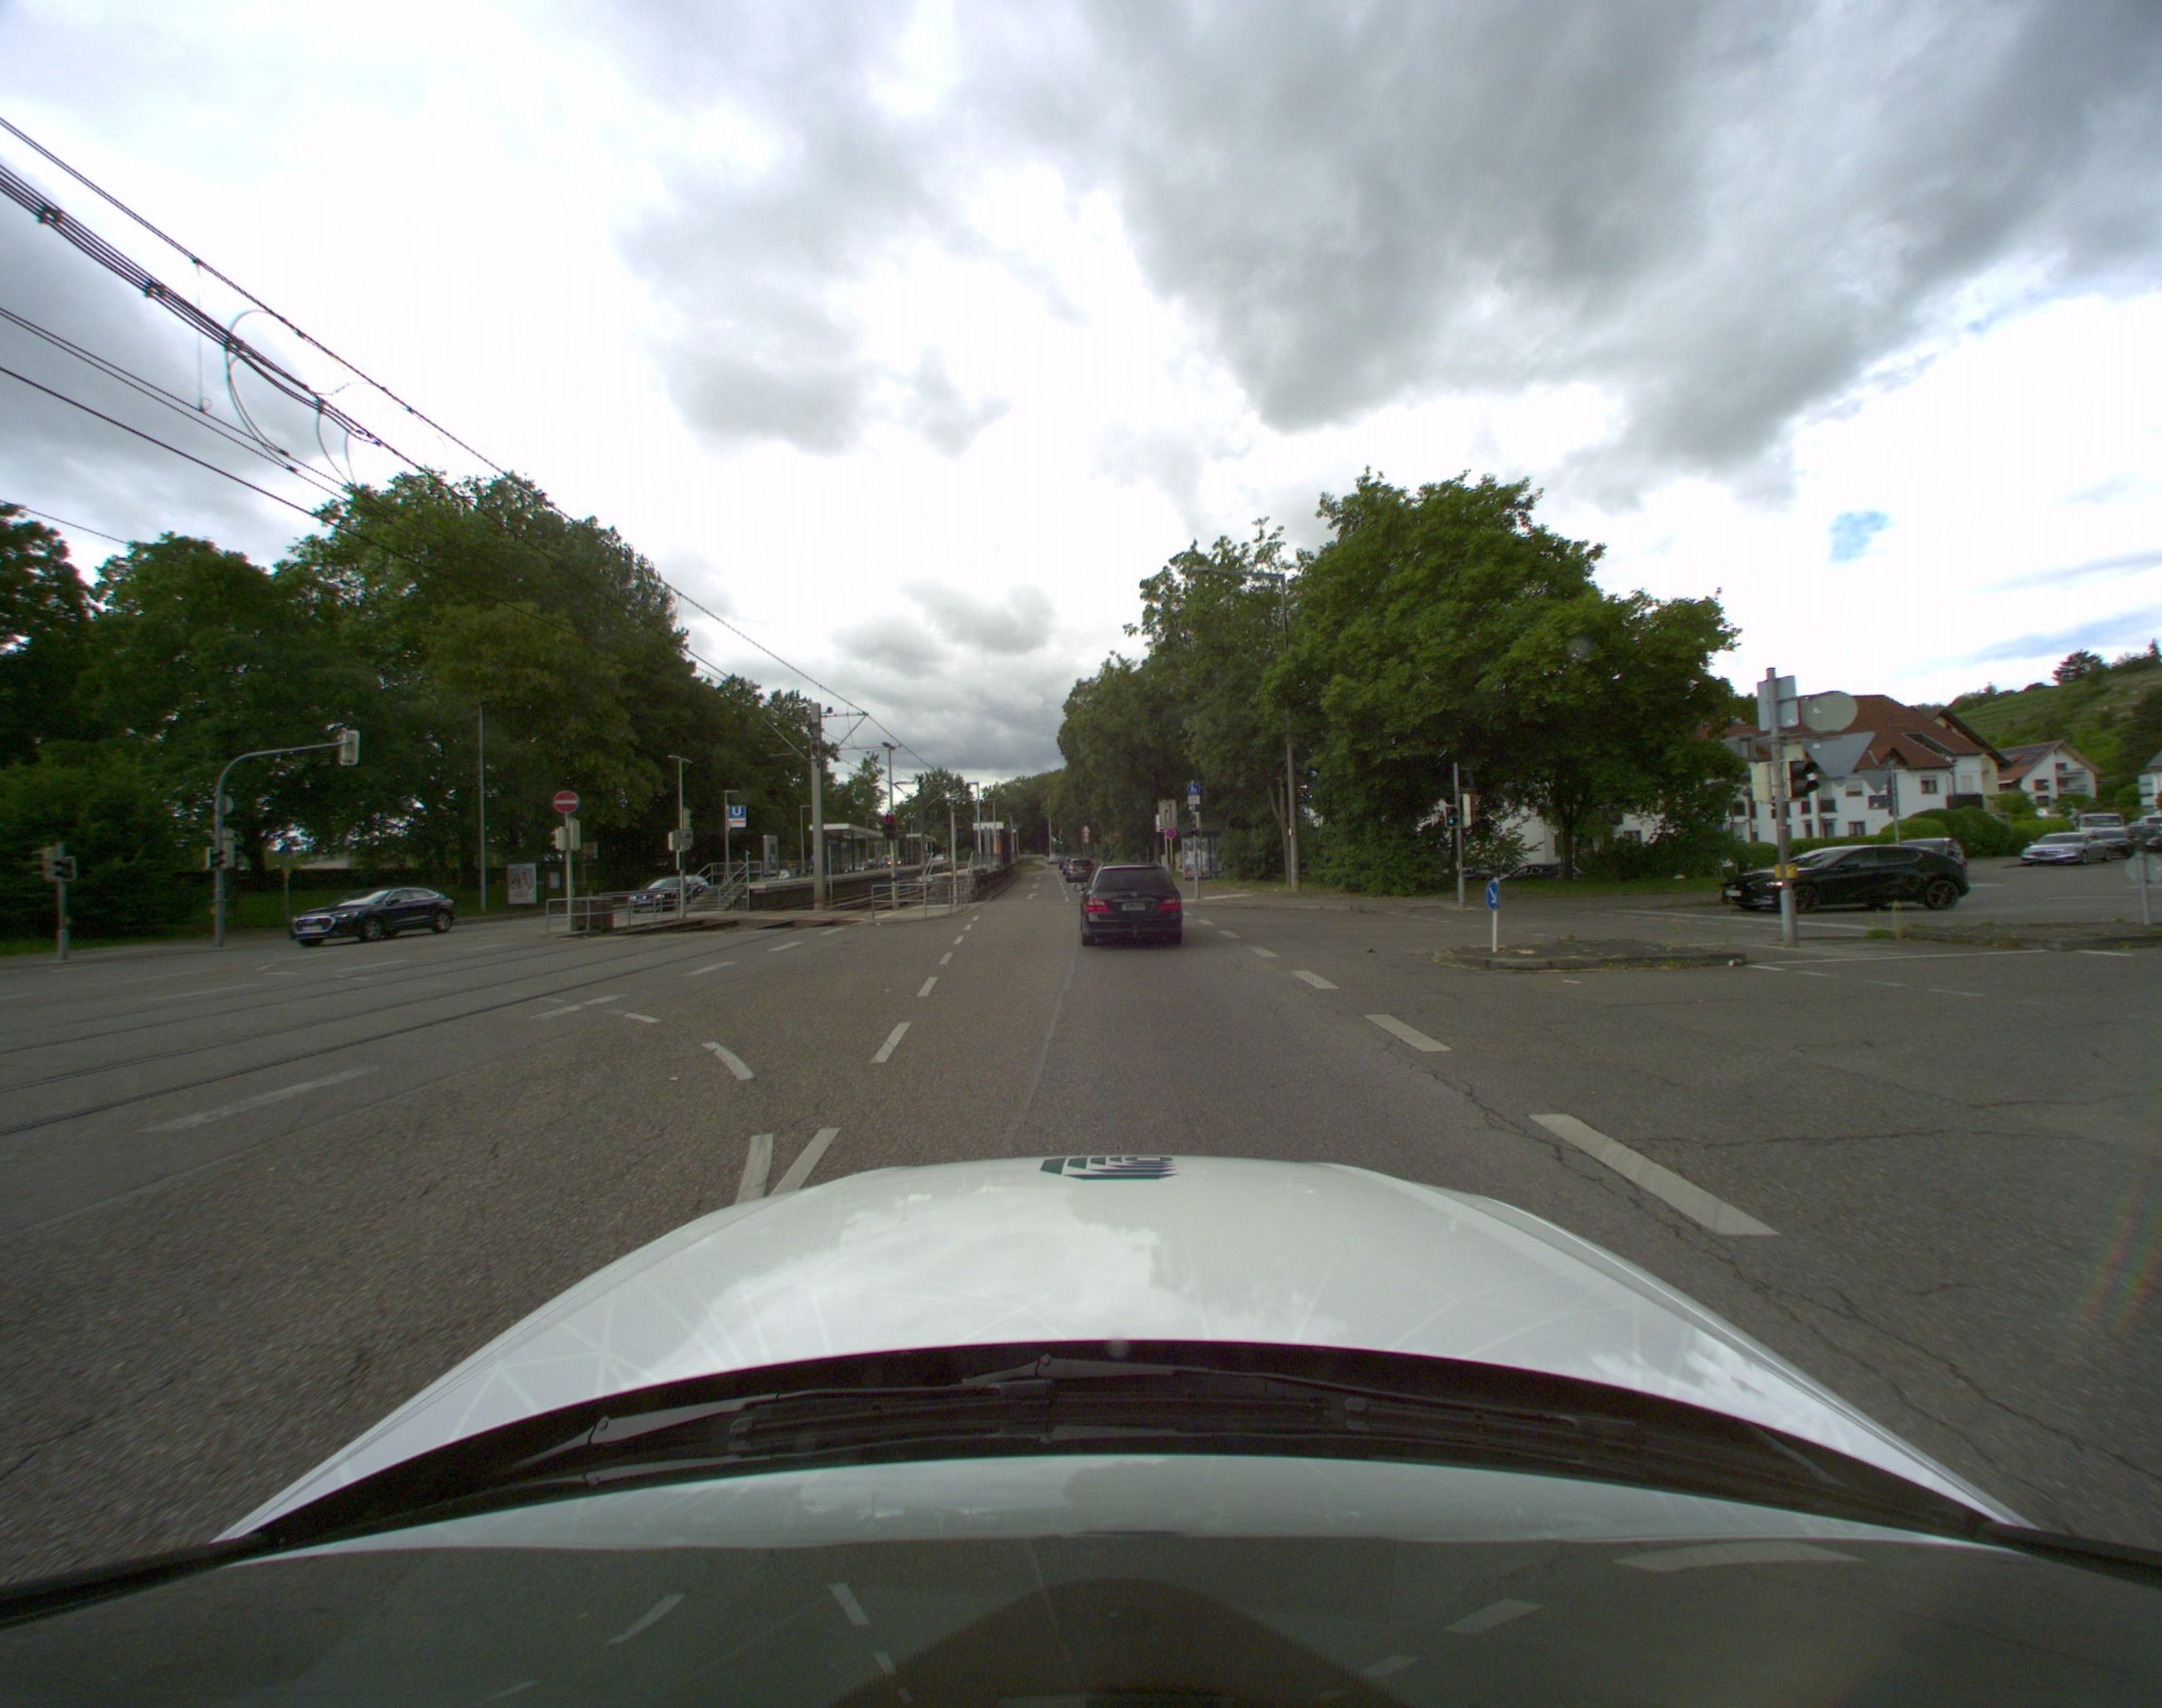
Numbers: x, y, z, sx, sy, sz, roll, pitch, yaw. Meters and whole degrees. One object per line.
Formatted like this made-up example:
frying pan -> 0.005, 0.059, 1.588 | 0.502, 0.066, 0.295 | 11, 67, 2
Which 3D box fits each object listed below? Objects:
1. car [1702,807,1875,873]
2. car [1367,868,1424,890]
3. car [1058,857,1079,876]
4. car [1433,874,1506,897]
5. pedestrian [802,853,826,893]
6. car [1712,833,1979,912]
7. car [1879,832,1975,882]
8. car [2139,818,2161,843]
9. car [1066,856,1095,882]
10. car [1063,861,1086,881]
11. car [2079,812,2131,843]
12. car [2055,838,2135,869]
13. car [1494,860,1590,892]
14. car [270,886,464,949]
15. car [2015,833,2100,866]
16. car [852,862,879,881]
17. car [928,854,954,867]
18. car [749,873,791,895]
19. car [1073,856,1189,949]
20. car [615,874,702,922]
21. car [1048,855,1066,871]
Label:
car -> 24.203, -0.431, 28.038 | 3.956, 2.014, 2.008 | -2, -1, 16
car -> 19.875, 1.576, 51.674 | 1.480, 1.386, 3.823 | 0, -2, -13
car -> -1.302, 1.292, 83.808 | 1.989, 1.918, 3.994 | 0, -2, -3
car -> 21.613, 1.723, 45.460 | 1.623, 1.246, 3.840 | 0, -2, -13
pedestrian -> -14.762, 1.039, 45.026 | 0.967, 2.186, 0.975 | -2, -1, -2
car -> 16.931, 0.422, 18.225 | 4.132, 1.526, 1.707 | -3, -2, 5
car -> 31.970, 0.159, 30.744 | 4.017, 1.766, 1.978 | 1, -2, -37
car -> 78.509, -1.737, 59.018 | 4.487, 1.753, 1.978 | -2, -1, -35
car -> -0.019, 0.979, 52.320 | 1.776, 1.648, 3.999 | 0, -2, 0
car -> -0.587, 1.416, 66.926 | 1.777, 1.648, 3.996 | 0, -2, -2
car -> 74.666, -1.934, 59.370 | 4.487, 2.125, 1.978 | -1, -1, -35
car -> 51.449, 0.007, 41.299 | 4.483, 1.426, 1.980 | 1, -2, -32
car -> 22.537, 1.091, 40.017 | 1.662, 1.461, 4.269 | 0, -2, -13
car -> -21.208, 1.814, 24.506 | 1.990, 1.482, 4.500 | -3, -1, -4
car -> 45.339, -0.166, 37.788 | 4.485, 1.426, 1.979 | 1, -2, -33
car -> -22.557, 1.855, 85.288 | 1.706, 1.751, 4.394 | -3, -2, -3
car -> -23.271, 1.041, 135.078 | 3.948, 2.014, 2.012 | -1, -2, 33
car -> -23.334, 2.227, 61.255 | 1.682, 1.446, 3.994 | -4, -1, -4
car -> 0.811, 0.809, 15.481 | 1.778, 1.525, 3.996 | 0, 0, -3
car -> -17.532, 1.780, 33.983 | 1.693, 1.861, 3.994 | 0, -2, -3
car -> -3.097, 1.170, 104.564 | 1.992, 1.893, 3.989 | 0, -2, -7
